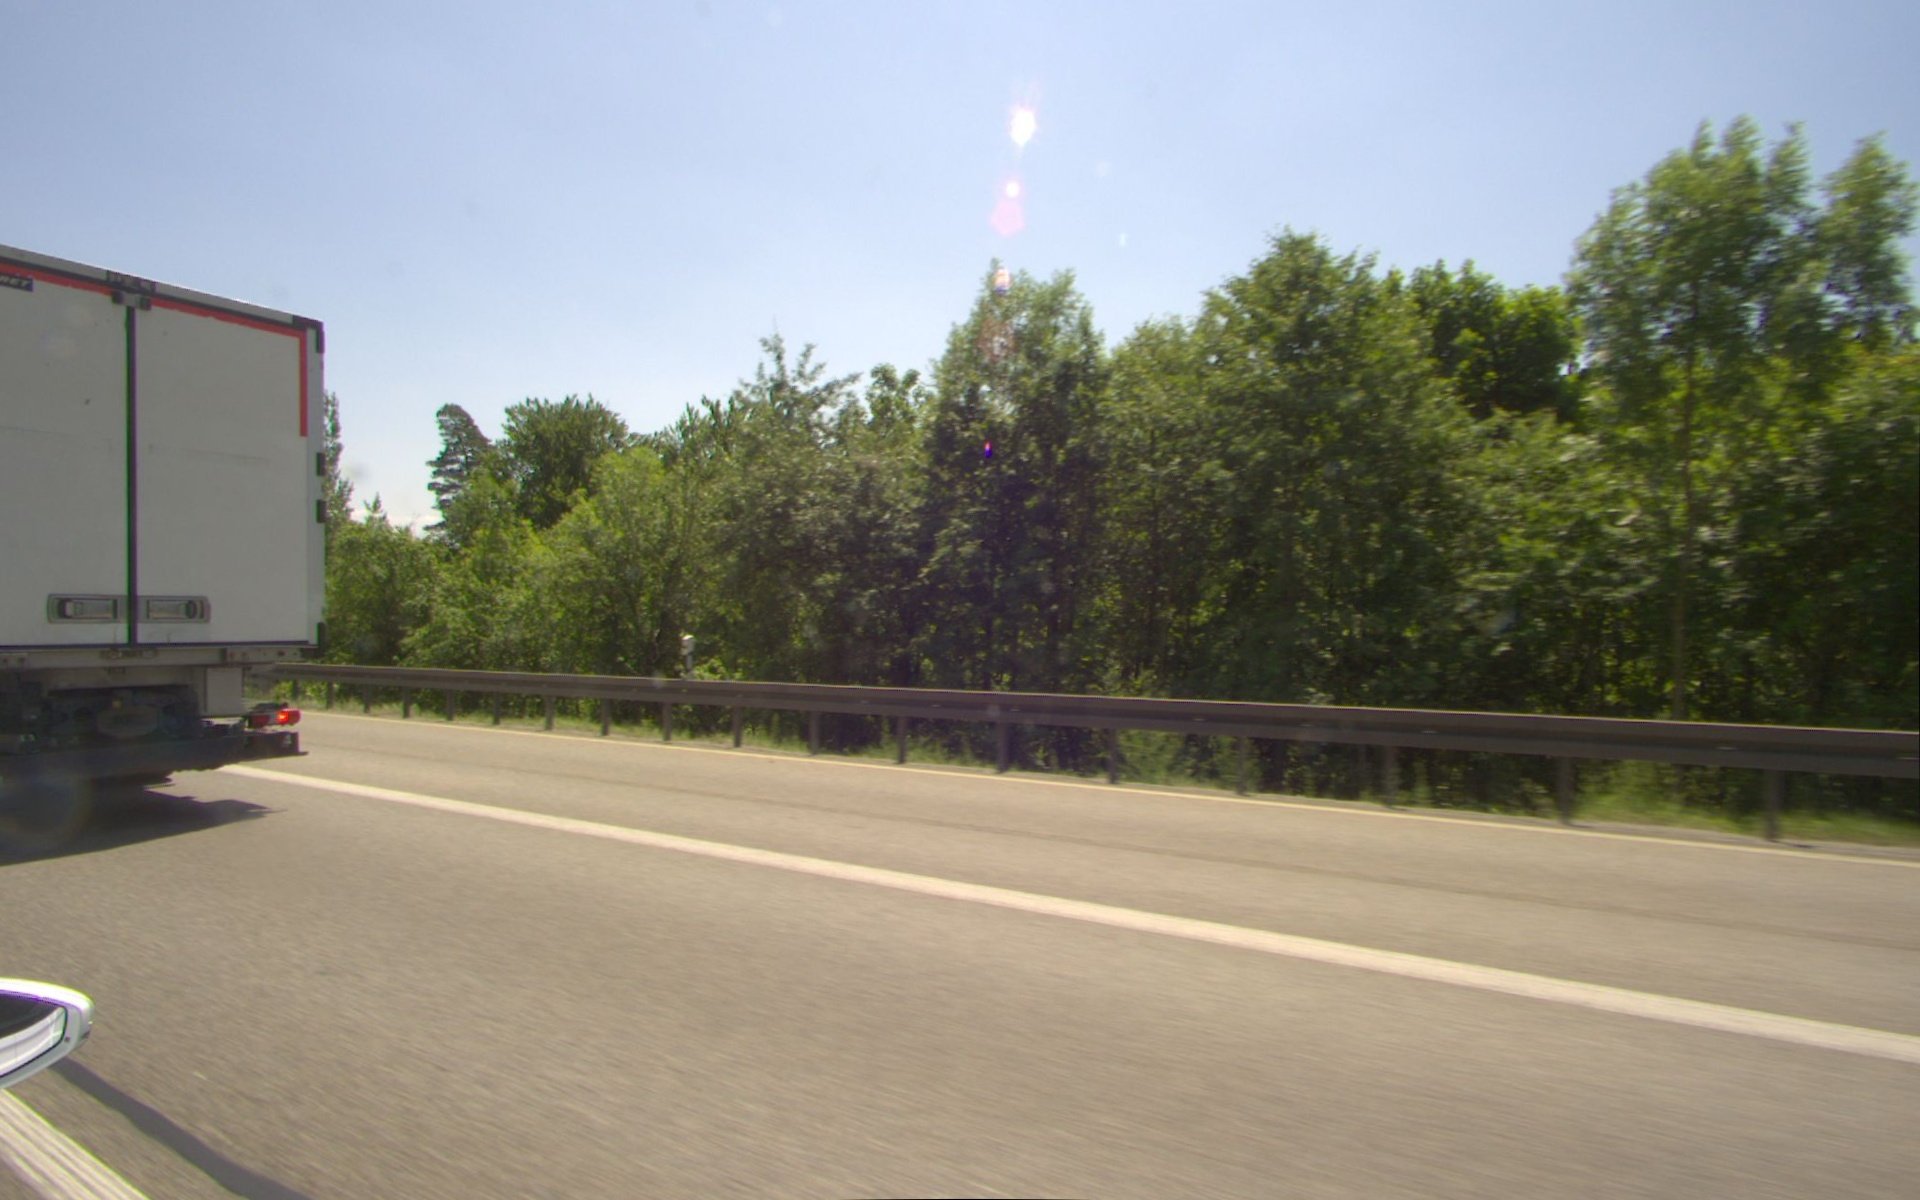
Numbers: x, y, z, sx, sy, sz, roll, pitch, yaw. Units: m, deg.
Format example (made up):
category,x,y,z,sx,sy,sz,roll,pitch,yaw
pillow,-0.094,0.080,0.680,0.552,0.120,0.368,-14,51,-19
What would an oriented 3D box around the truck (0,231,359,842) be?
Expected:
category,x,y,z,sx,sy,sz,roll,pitch,yaw
truck,-9.849,-0.375,9.687,9.638,3.929,2.682,-1,2,32
